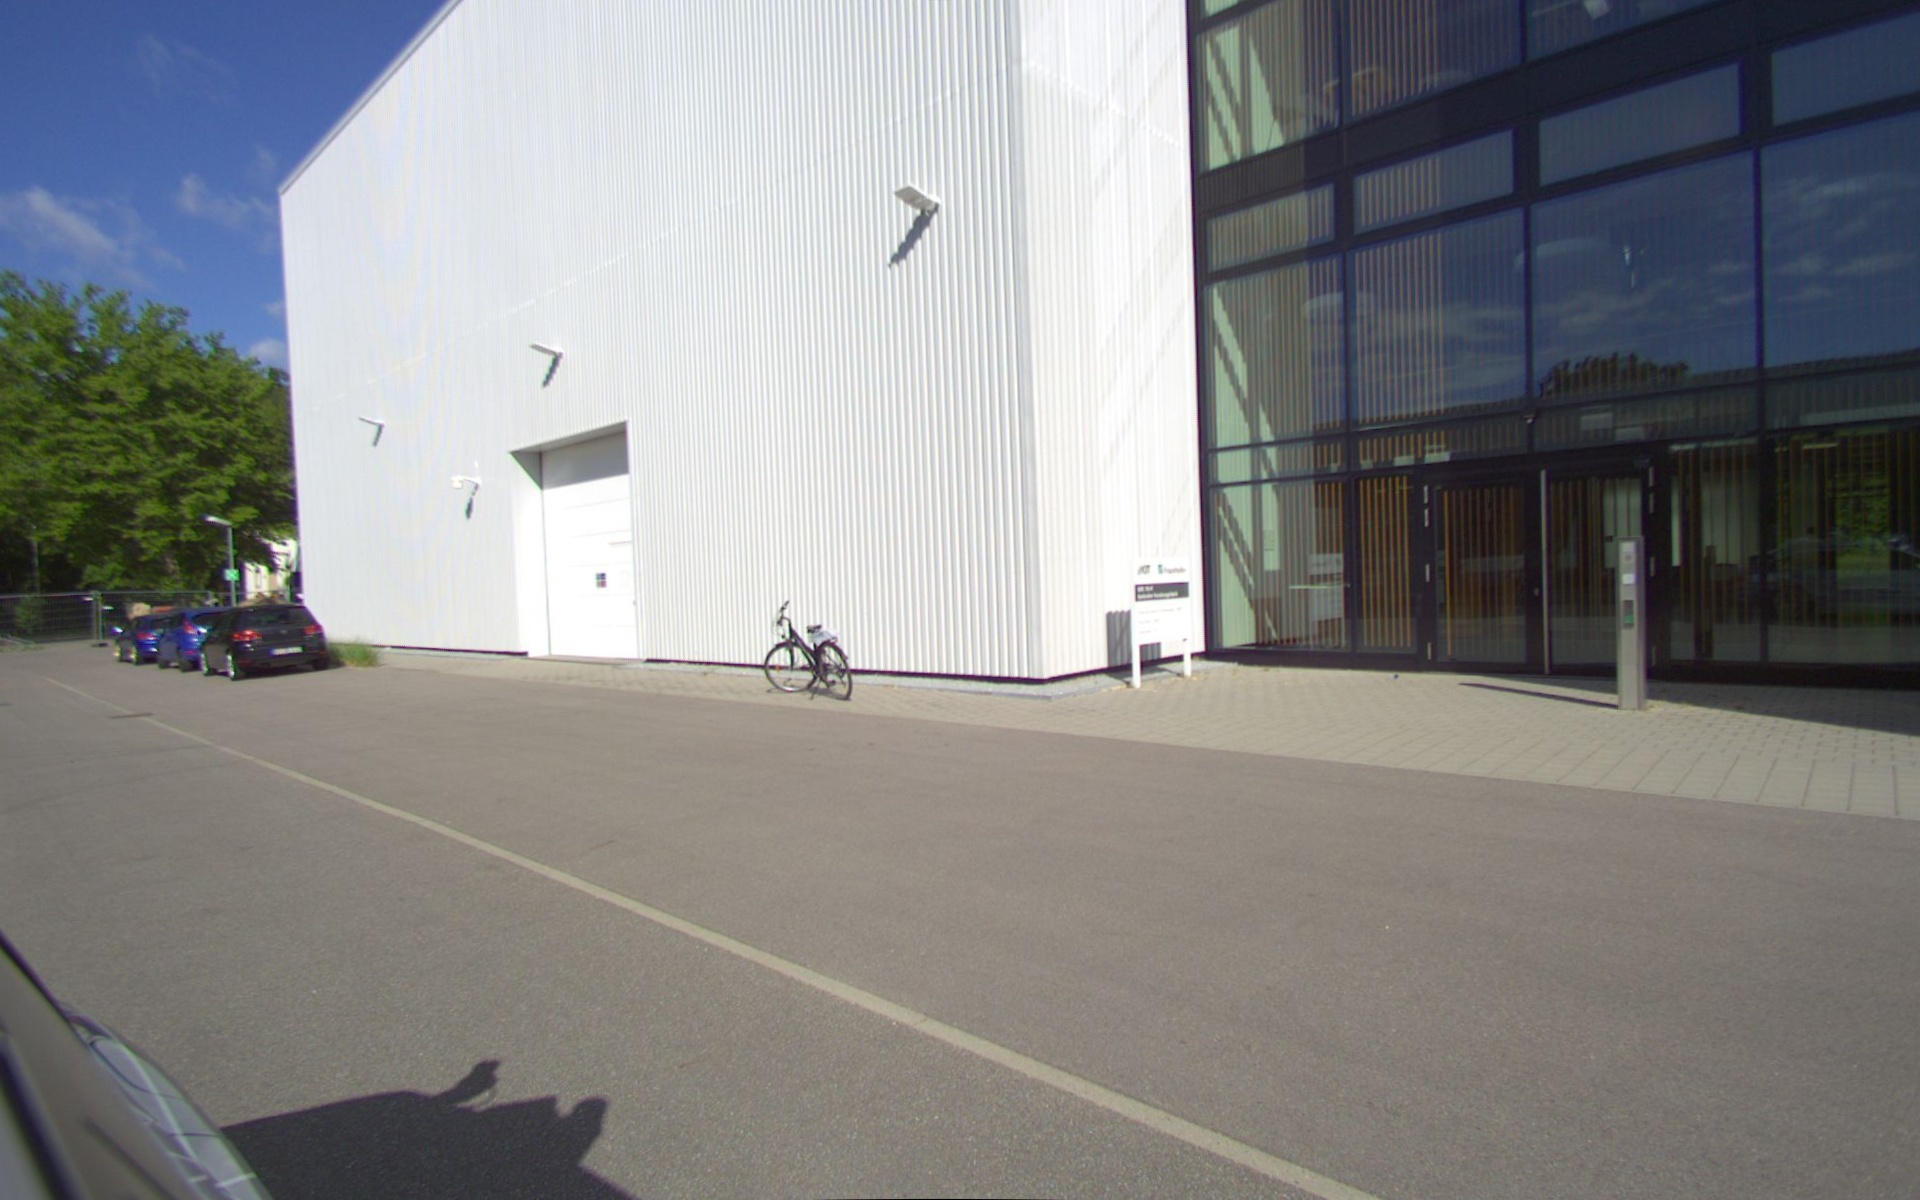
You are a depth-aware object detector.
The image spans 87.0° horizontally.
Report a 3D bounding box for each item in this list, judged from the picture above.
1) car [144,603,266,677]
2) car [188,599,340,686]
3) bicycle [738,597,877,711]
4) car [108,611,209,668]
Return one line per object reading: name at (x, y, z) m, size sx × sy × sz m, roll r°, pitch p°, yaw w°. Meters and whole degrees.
car at (-18.752, 0.947, 25.079) m, size 4.002 × 1.533 × 1.766 m, roll -1°, pitch 4°, yaw 45°
car at (-14.873, 0.848, 21.544) m, size 4.002 × 1.533 × 1.870 m, roll -1°, pitch 4°, yaw 45°
bicycle at (-1.870, 0.592, 12.169) m, size 0.895 × 1.151 × 1.905 m, roll -6°, pitch 4°, yaw -32°
car at (-22.830, 1.085, 28.769) m, size 4.002 × 1.451 × 1.765 m, roll -1°, pitch 0°, yaw 45°
